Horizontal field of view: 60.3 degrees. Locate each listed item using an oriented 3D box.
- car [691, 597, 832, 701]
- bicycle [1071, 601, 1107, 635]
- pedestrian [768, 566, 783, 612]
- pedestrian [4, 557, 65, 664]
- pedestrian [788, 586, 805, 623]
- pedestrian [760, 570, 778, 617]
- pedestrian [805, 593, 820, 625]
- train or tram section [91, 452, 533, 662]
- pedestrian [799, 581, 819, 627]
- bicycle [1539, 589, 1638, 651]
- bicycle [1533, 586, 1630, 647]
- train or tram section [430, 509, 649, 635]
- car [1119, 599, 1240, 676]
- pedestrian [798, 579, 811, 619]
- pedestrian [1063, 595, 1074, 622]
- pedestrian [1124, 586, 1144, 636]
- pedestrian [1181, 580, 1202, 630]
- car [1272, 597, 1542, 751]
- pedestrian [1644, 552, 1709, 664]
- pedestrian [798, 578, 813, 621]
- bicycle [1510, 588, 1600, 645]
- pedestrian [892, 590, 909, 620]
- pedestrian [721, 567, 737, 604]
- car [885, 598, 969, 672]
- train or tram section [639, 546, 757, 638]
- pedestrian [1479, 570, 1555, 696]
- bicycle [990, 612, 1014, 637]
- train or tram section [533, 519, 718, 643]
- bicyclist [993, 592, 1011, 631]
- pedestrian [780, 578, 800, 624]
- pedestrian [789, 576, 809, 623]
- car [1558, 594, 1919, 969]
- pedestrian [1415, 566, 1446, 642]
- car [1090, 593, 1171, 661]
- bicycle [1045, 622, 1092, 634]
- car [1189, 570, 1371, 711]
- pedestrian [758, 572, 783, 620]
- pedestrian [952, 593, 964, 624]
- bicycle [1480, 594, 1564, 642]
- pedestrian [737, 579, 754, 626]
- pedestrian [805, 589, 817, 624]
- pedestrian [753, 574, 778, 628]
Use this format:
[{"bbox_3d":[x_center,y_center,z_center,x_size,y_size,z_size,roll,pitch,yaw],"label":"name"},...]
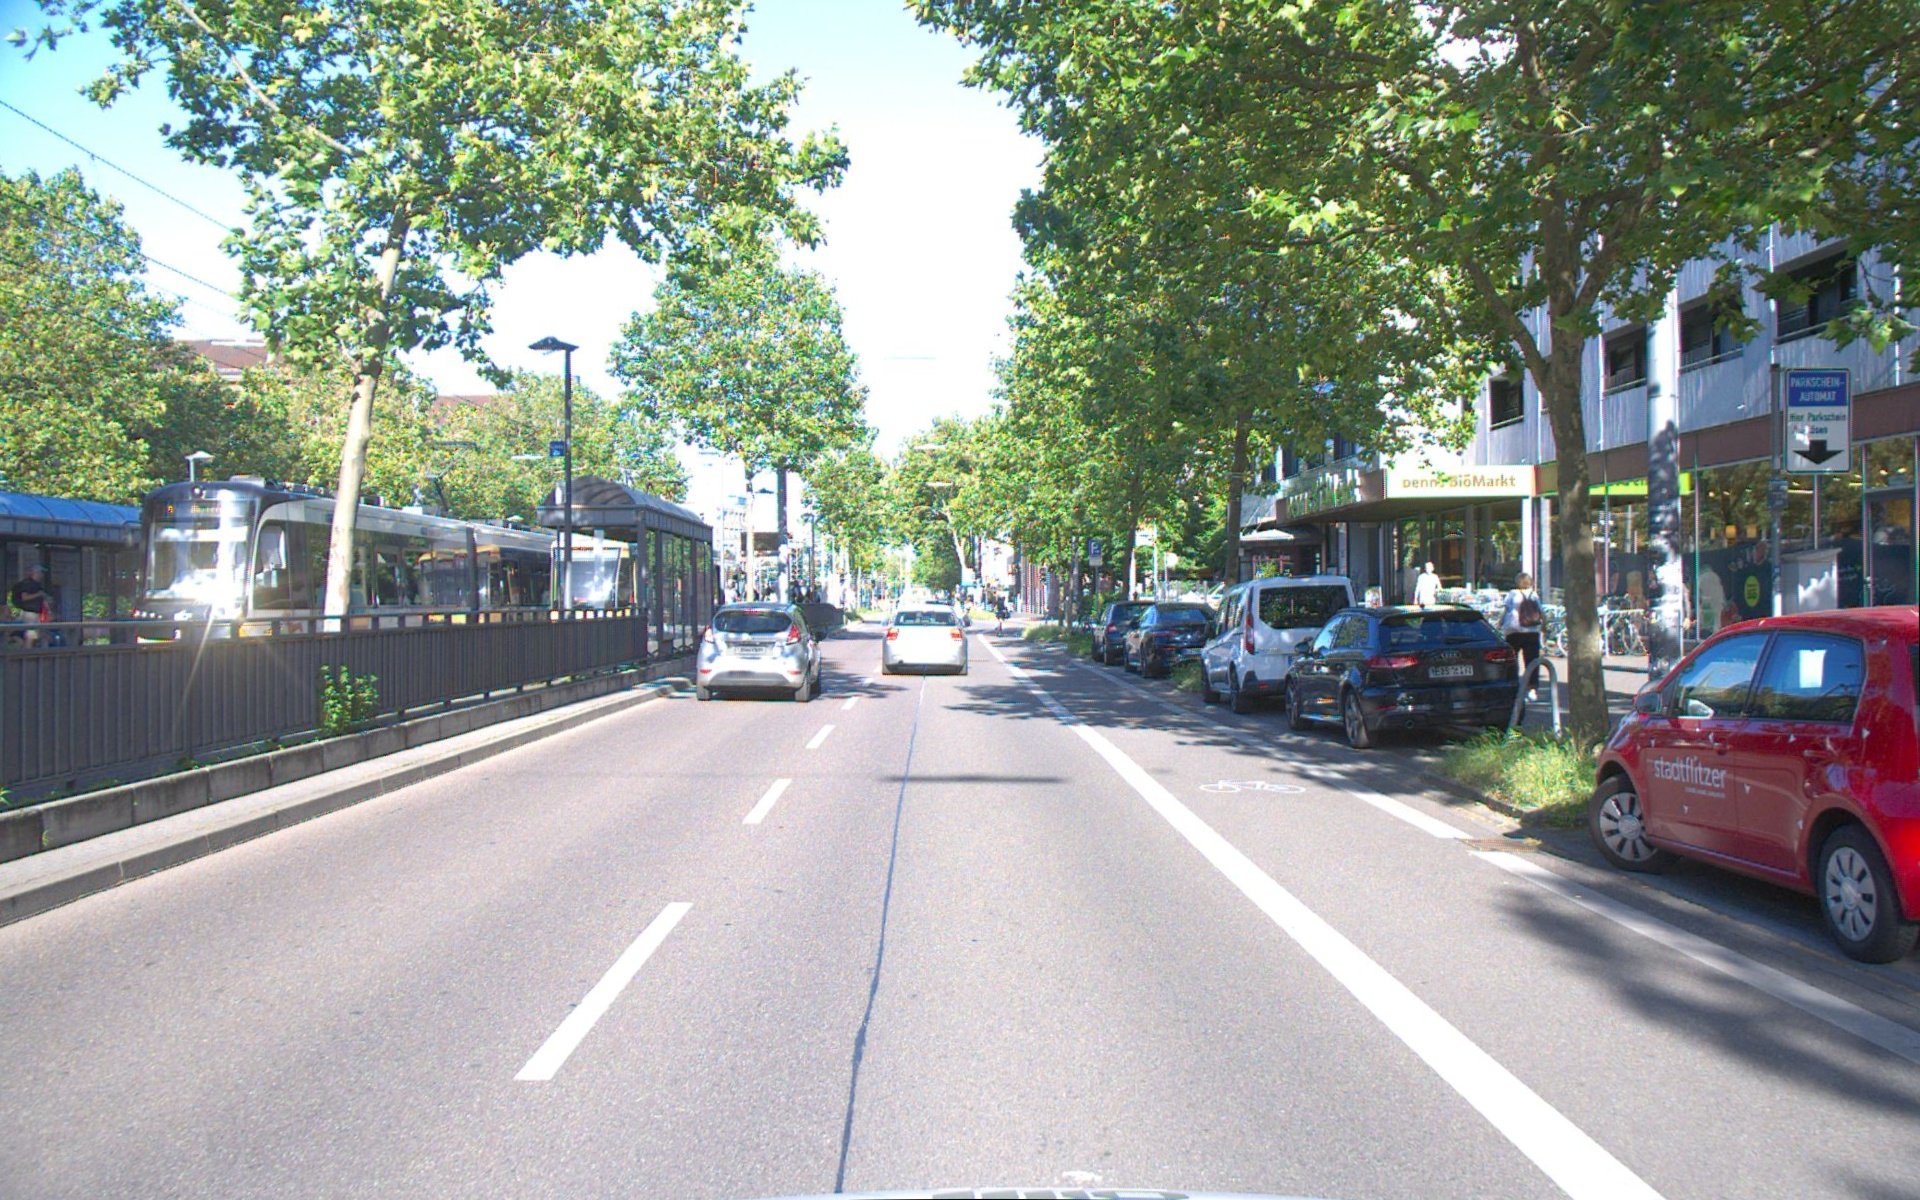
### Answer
[{"bbox_3d":[-2.988,0.697,25.607,1.694,1.415,3.840,1,1,0],"label":"car"},{"bbox_3d":[4.605,0.632,59.124,0.774,1.153,1.840,-1,0,-13],"label":"bicycle"},{"bbox_3d":[-6.936,-0.410,62.185,0.504,1.738,0.621,-1,0,-1],"label":"pedestrian"},{"bbox_3d":[-16.705,0.192,29.856,0.695,1.887,0.648,-2,0,-2],"label":"pedestrian"},{"bbox_3d":[-5.718,0.155,57.960,0.523,1.268,0.604,-1,0,-3],"label":"pedestrian"},{"bbox_3d":[-7.185,-0.239,62.315,0.620,1.732,0.746,-1,0,-5],"label":"pedestrian"},{"bbox_3d":[-5.651,0.344,63.461,0.534,1.213,0.531,-1,0,-1],"label":"pedestrian"},{"bbox_3d":[-13.241,-0.756,36.907,2.812,3.494,18.273,1,0,-1],"label":"train or tram section"},{"bbox_3d":[-5.712,0.161,62.548,0.647,1.726,0.571,-1,0,0],"label":"pedestrian"},{"bbox_3d":[11.897,0.379,31.310,1.666,1.074,0.585,-3,0,26],"label":"bicycle"},{"bbox_3d":[12.080,0.323,32.151,1.666,1.073,0.585,-3,1,26],"label":"bicycle"},{"bbox_3d":[-13.416,-0.813,55.154,2.791,3.494,18.212,1,0,-1],"label":"train or tram section"},{"bbox_3d":[4.362,0.712,33.522,1.726,1.443,4.699,0,0,-1],"label":"car"},{"bbox_3d":[-6.778,-0.043,72.209,0.537,1.764,0.539,-1,0,-5],"label":"pedestrian"},{"bbox_3d":[6.733,0.518,102.473,0.613,1.657,0.944,0,0,7],"label":"pedestrian"},{"bbox_3d":[6.168,0.393,58.750,0.548,1.734,1.052,-1,0,-1],"label":"pedestrian"},{"bbox_3d":[8.217,0.175,58.755,0.548,1.775,0.878,-1,0,-1],"label":"pedestrian"},{"bbox_3d":[4.767,0.716,18.290,1.694,1.427,4.294,-2,0,-1],"label":"car"},{"bbox_3d":[11.278,0.120,26.057,0.546,1.707,0.882,-3,0,-1],"label":"pedestrian"},{"bbox_3d":[-6.417,-0.017,68.861,0.536,1.764,0.540,-1,0,0],"label":"pedestrian"},{"bbox_3d":[12.324,0.336,34.266,1.666,1.073,0.585,-3,3,26],"label":"bicycle"},{"bbox_3d":[-3.200,0.253,89.077,0.812,1.603,0.739,0,-1,7],"label":"pedestrian"},{"bbox_3d":[-8.257,-0.517,59.138,0.523,1.322,0.604,-1,0,-4],"label":"pedestrian"},{"bbox_3d":[-0.638,0.703,34.479,1.626,1.434,3.632,1,0,1],"label":"car"},{"bbox_3d":[-10.461,-0.180,67.430,2.855,3.317,13.109,1,-1,-1],"label":"train or tram section"},{"bbox_3d":[7.542,0.441,22.433,0.683,1.640,0.868,-3,0,1],"label":"pedestrian"},{"bbox_3d":[1.834,1.073,72.288,0.814,1.059,1.876,-1,0,8],"label":"bicycle"},{"bbox_3d":[-10.244,-0.399,52.918,2.855,3.317,15.889,1,-1,-1],"label":"train or tram section"},{"bbox_3d":[1.834,0.492,72.251,0.644,1.686,0.765,-1,0,8],"label":"bicyclist"},{"bbox_3d":[-6.241,0.039,60.840,0.647,1.662,0.571,-1,0,0],"label":"pedestrian"},{"bbox_3d":[-5.978,-0.002,61.382,0.647,1.726,0.571,-1,0,0],"label":"pedestrian"},{"bbox_3d":[4.618,0.735,8.439,1.639,1.463,3.689,-3,-1,-2],"label":"car"},{"bbox_3d":[11.099,0.094,39.048,0.598,1.745,0.614,-3,2,15],"label":"pedestrian"},{"bbox_3d":[4.135,0.637,40.566,1.533,1.577,4.000,0,0,0],"label":"car"},{"bbox_3d":[3.932,1.007,59.968,1.576,0.359,1.389,-1,0,-1],"label":"bicycle"},{"bbox_3d":[4.548,0.519,24.108,1.728,1.823,4.392,-2,0,0],"label":"car"},{"bbox_3d":[-6.208,-0.130,54.275,0.760,1.536,0.751,-1,0,-4],"label":"pedestrian"},{"bbox_3d":[-0.106,0.446,87.761,0.626,1.648,0.641,-1,-3,0],"label":"pedestrian"},{"bbox_3d":[12.091,0.385,35.598,1.614,0.932,0.585,-3,3,26],"label":"bicycle"},{"bbox_3d":[-8.090,0.096,62.398,0.597,1.732,0.545,-1,0,-5],"label":"pedestrian"},{"bbox_3d":[-5.816,0.245,64.458,0.407,1.339,0.507,-1,0,-3],"label":"pedestrian"},{"bbox_3d":[-6.547,0.037,55.742,0.760,1.783,0.722,-1,0,-4],"label":"pedestrian"}]
